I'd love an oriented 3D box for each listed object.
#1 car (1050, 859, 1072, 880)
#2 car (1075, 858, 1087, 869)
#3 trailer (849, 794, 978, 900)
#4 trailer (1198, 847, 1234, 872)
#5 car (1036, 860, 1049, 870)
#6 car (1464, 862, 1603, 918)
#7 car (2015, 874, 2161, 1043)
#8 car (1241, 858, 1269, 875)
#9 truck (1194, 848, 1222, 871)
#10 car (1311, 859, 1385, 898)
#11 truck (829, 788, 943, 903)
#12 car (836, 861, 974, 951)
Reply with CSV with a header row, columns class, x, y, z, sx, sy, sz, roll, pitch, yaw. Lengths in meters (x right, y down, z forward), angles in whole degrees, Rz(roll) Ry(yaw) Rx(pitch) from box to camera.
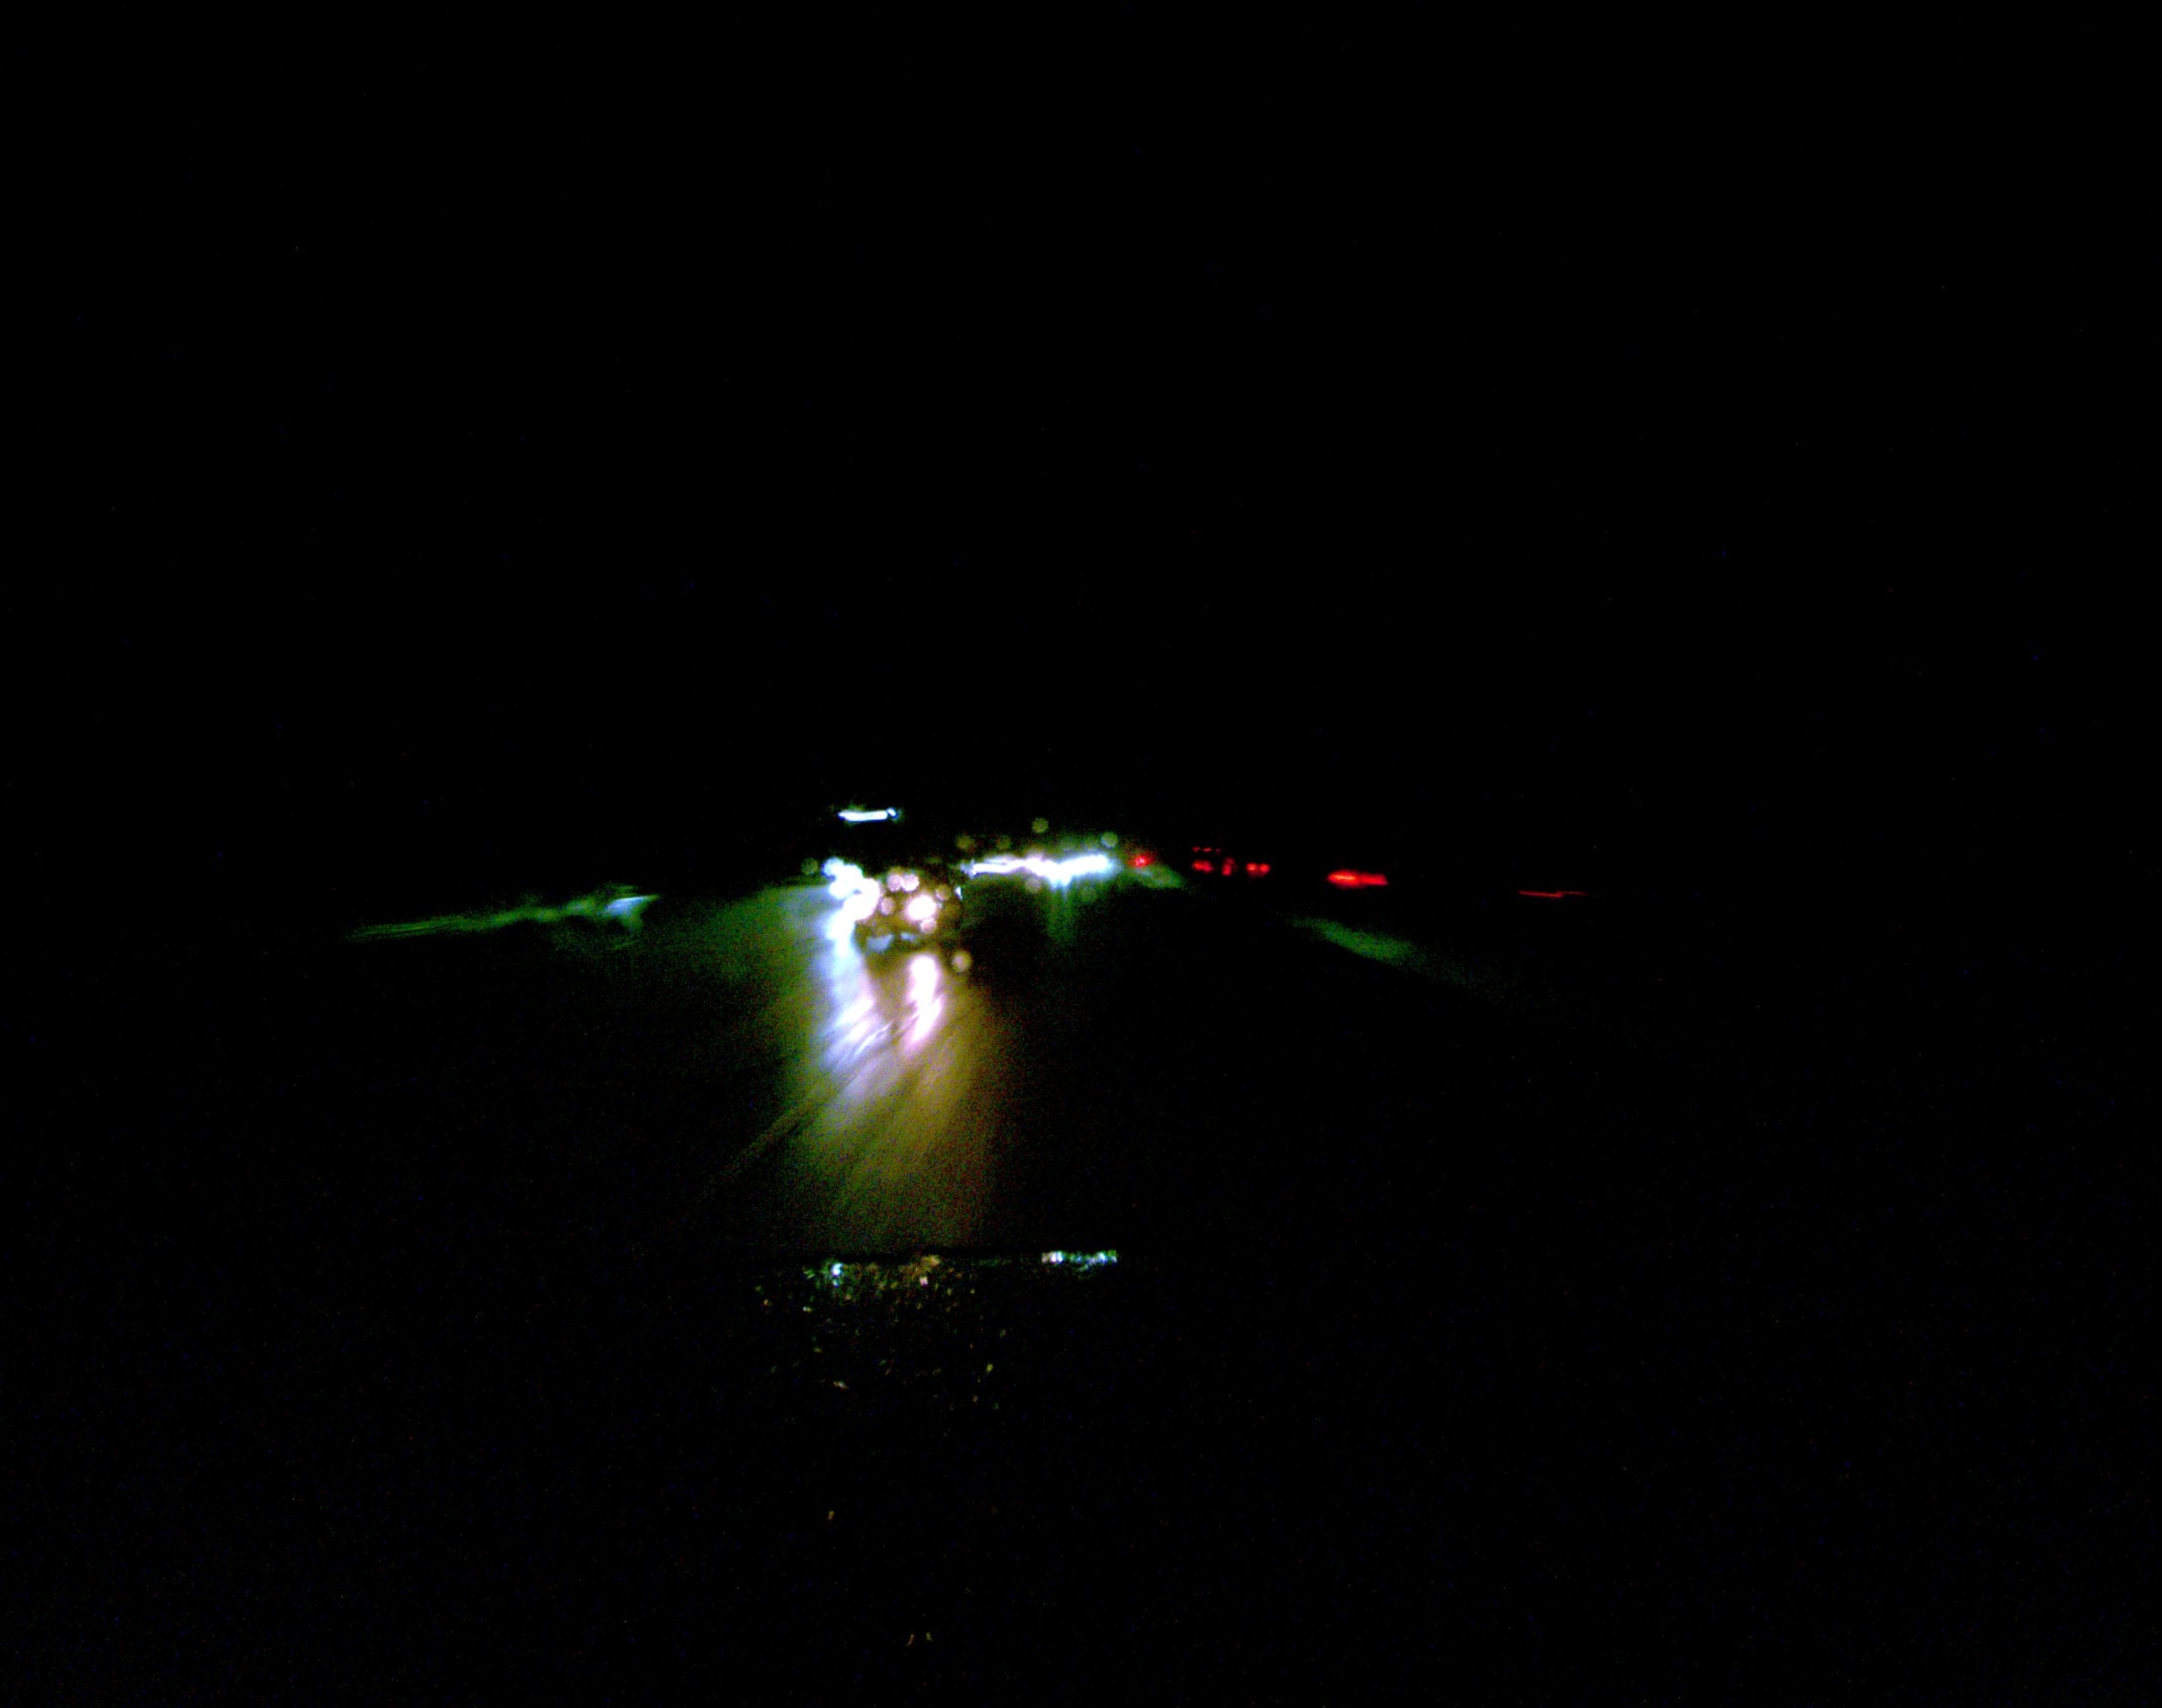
class,x,y,z,sx,sy,sz,roll,pitch,yaw
car,-1.975,1.532,75.539,1.999,2.001,4.000,-2,-1,-2
car,-0.027,1.680,131.809,1.883,1.653,4.001,-3,-2,0
trailer,-7.426,-0.200,36.403,2.910,4.084,14.488,0,0,0
trailer,19.023,0.746,108.059,3.082,3.276,13.158,0,0,2
car,-5.453,1.577,108.396,1.644,1.494,4.013,-1,-1,-1
car,16.752,1.287,28.538,1.999,1.805,5.094,-2,-1,-2
car,12.758,1.122,7.519,1.999,1.750,4.000,-2,-1,-2
car,17.786,1.244,77.983,1.921,1.674,4.506,0,1,1
truck,19.233,0.807,115.509,3.082,3.276,8.345,0,0,2
car,13.186,1.213,37.892,1.998,1.750,4.655,-2,-1,0
truck,-7.454,-0.275,29.896,2.910,4.084,6.031,0,0,0
car,-3.512,0.968,16.059,1.745,1.566,4.494,-1,0,1
